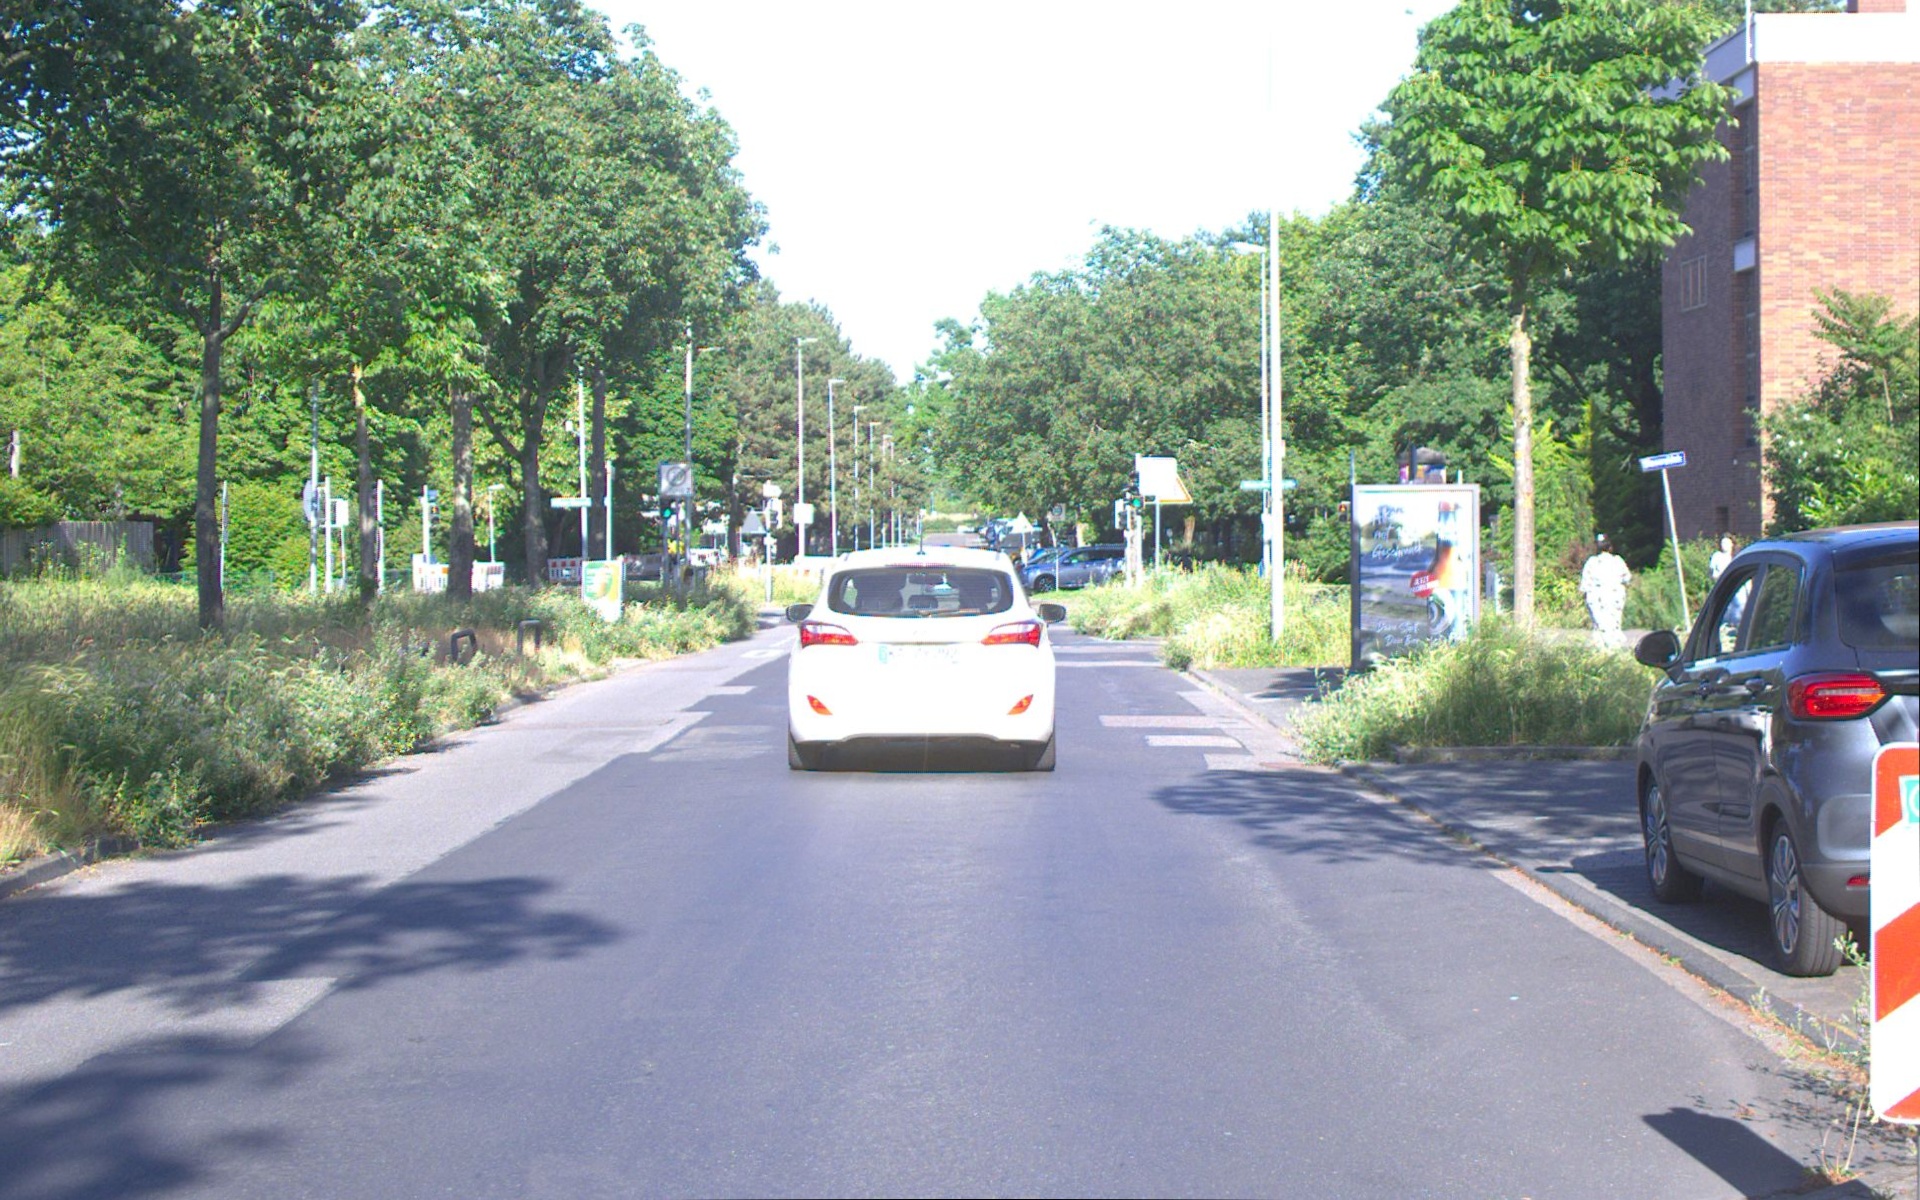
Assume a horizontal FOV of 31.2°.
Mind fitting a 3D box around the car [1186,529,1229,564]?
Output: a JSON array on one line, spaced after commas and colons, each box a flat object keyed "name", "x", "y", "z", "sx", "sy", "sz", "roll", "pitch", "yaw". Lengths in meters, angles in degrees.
[{"name": "car", "x": 13.348, "y": -2.877, "z": 185.618, "sx": 1.993, "sy": 1.809, "sz": 4.000, "roll": 1, "pitch": 1, "yaw": 0}]

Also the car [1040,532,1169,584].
[{"name": "car", "x": 5.116, "y": -1.494, "z": 121.780, "sx": 4.499, "sy": 1.777, "sz": 1.855, "roll": 0, "pitch": 1, "yaw": 3}]

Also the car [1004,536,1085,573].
[{"name": "car", "x": 4.000, "y": -2.174, "z": 163.776, "sx": 3.819, "sy": 1.678, "sz": 1.863, "roll": 1, "pitch": 0, "yaw": 0}]

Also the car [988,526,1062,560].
[{"name": "car", "x": 3.805, "y": -3.313, "z": 201.129, "sx": 4.302, "sy": 1.901, "sz": 1.863, "roll": 1, "pitch": 0, "yaw": 0}]

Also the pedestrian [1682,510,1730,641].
[{"name": "pedestrian", "x": 9.915, "y": -0.323, "z": 45.695, "sx": 0.554, "sy": 1.726, "sz": 0.661, "roll": 1, "pitch": 0, "yaw": 16}]

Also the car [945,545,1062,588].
[{"name": "car", "x": 1.698, "y": -1.303, "z": 133.624, "sx": 4.499, "sy": 1.624, "sz": 1.855, "roll": 0, "pitch": 1, "yaw": 3}]

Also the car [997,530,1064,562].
[{"name": "car", "x": 4.031, "y": -3.114, "z": 197.980, "sx": 3.819, "sy": 1.761, "sz": 1.863, "roll": 1, "pitch": 0, "yaw": 0}]

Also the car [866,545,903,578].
[{"name": "car", "x": -4.259, "y": -2.174, "z": 194.203, "sx": 1.993, "sy": 1.809, "sz": 4.000, "roll": 1, "pitch": 1, "yaw": 0}]

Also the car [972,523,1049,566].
[{"name": "car", "x": 2.548, "y": -2.796, "z": 173.822, "sx": 3.819, "sy": 2.091, "sz": 1.863, "roll": 1, "pitch": 0, "yaw": 0}]

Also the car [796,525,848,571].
[{"name": "car", "x": -5.852, "y": -2.222, "z": 145.983, "sx": 1.993, "sy": 1.809, "sz": 4.001, "roll": 1, "pitch": 2, "yaw": 0}]

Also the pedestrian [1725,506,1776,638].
[{"name": "pedestrian", "x": 10.472, "y": -0.373, "z": 45.535, "sx": 0.606, "sy": 1.726, "sz": 0.639, "roll": 1, "pitch": 0, "yaw": 16}]

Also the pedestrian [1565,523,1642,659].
[{"name": "pedestrian", "x": 8.749, "y": -0.129, "z": 46.747, "sx": 0.900, "sy": 1.815, "sz": 0.735, "roll": 1, "pitch": 0, "yaw": 20}]

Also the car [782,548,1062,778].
[{"name": "car", "x": -0.240, "y": 0.372, "z": 23.974, "sx": 1.789, "sy": 1.458, "sz": 3.963, "roll": 0, "pitch": 1, "yaw": 0}]

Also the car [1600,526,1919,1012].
[{"name": "car", "x": 3.588, "y": 0.525, "z": 13.282, "sx": 1.493, "sy": 1.568, "sz": 3.601, "roll": -3, "pitch": 1, "yaw": 0}]
